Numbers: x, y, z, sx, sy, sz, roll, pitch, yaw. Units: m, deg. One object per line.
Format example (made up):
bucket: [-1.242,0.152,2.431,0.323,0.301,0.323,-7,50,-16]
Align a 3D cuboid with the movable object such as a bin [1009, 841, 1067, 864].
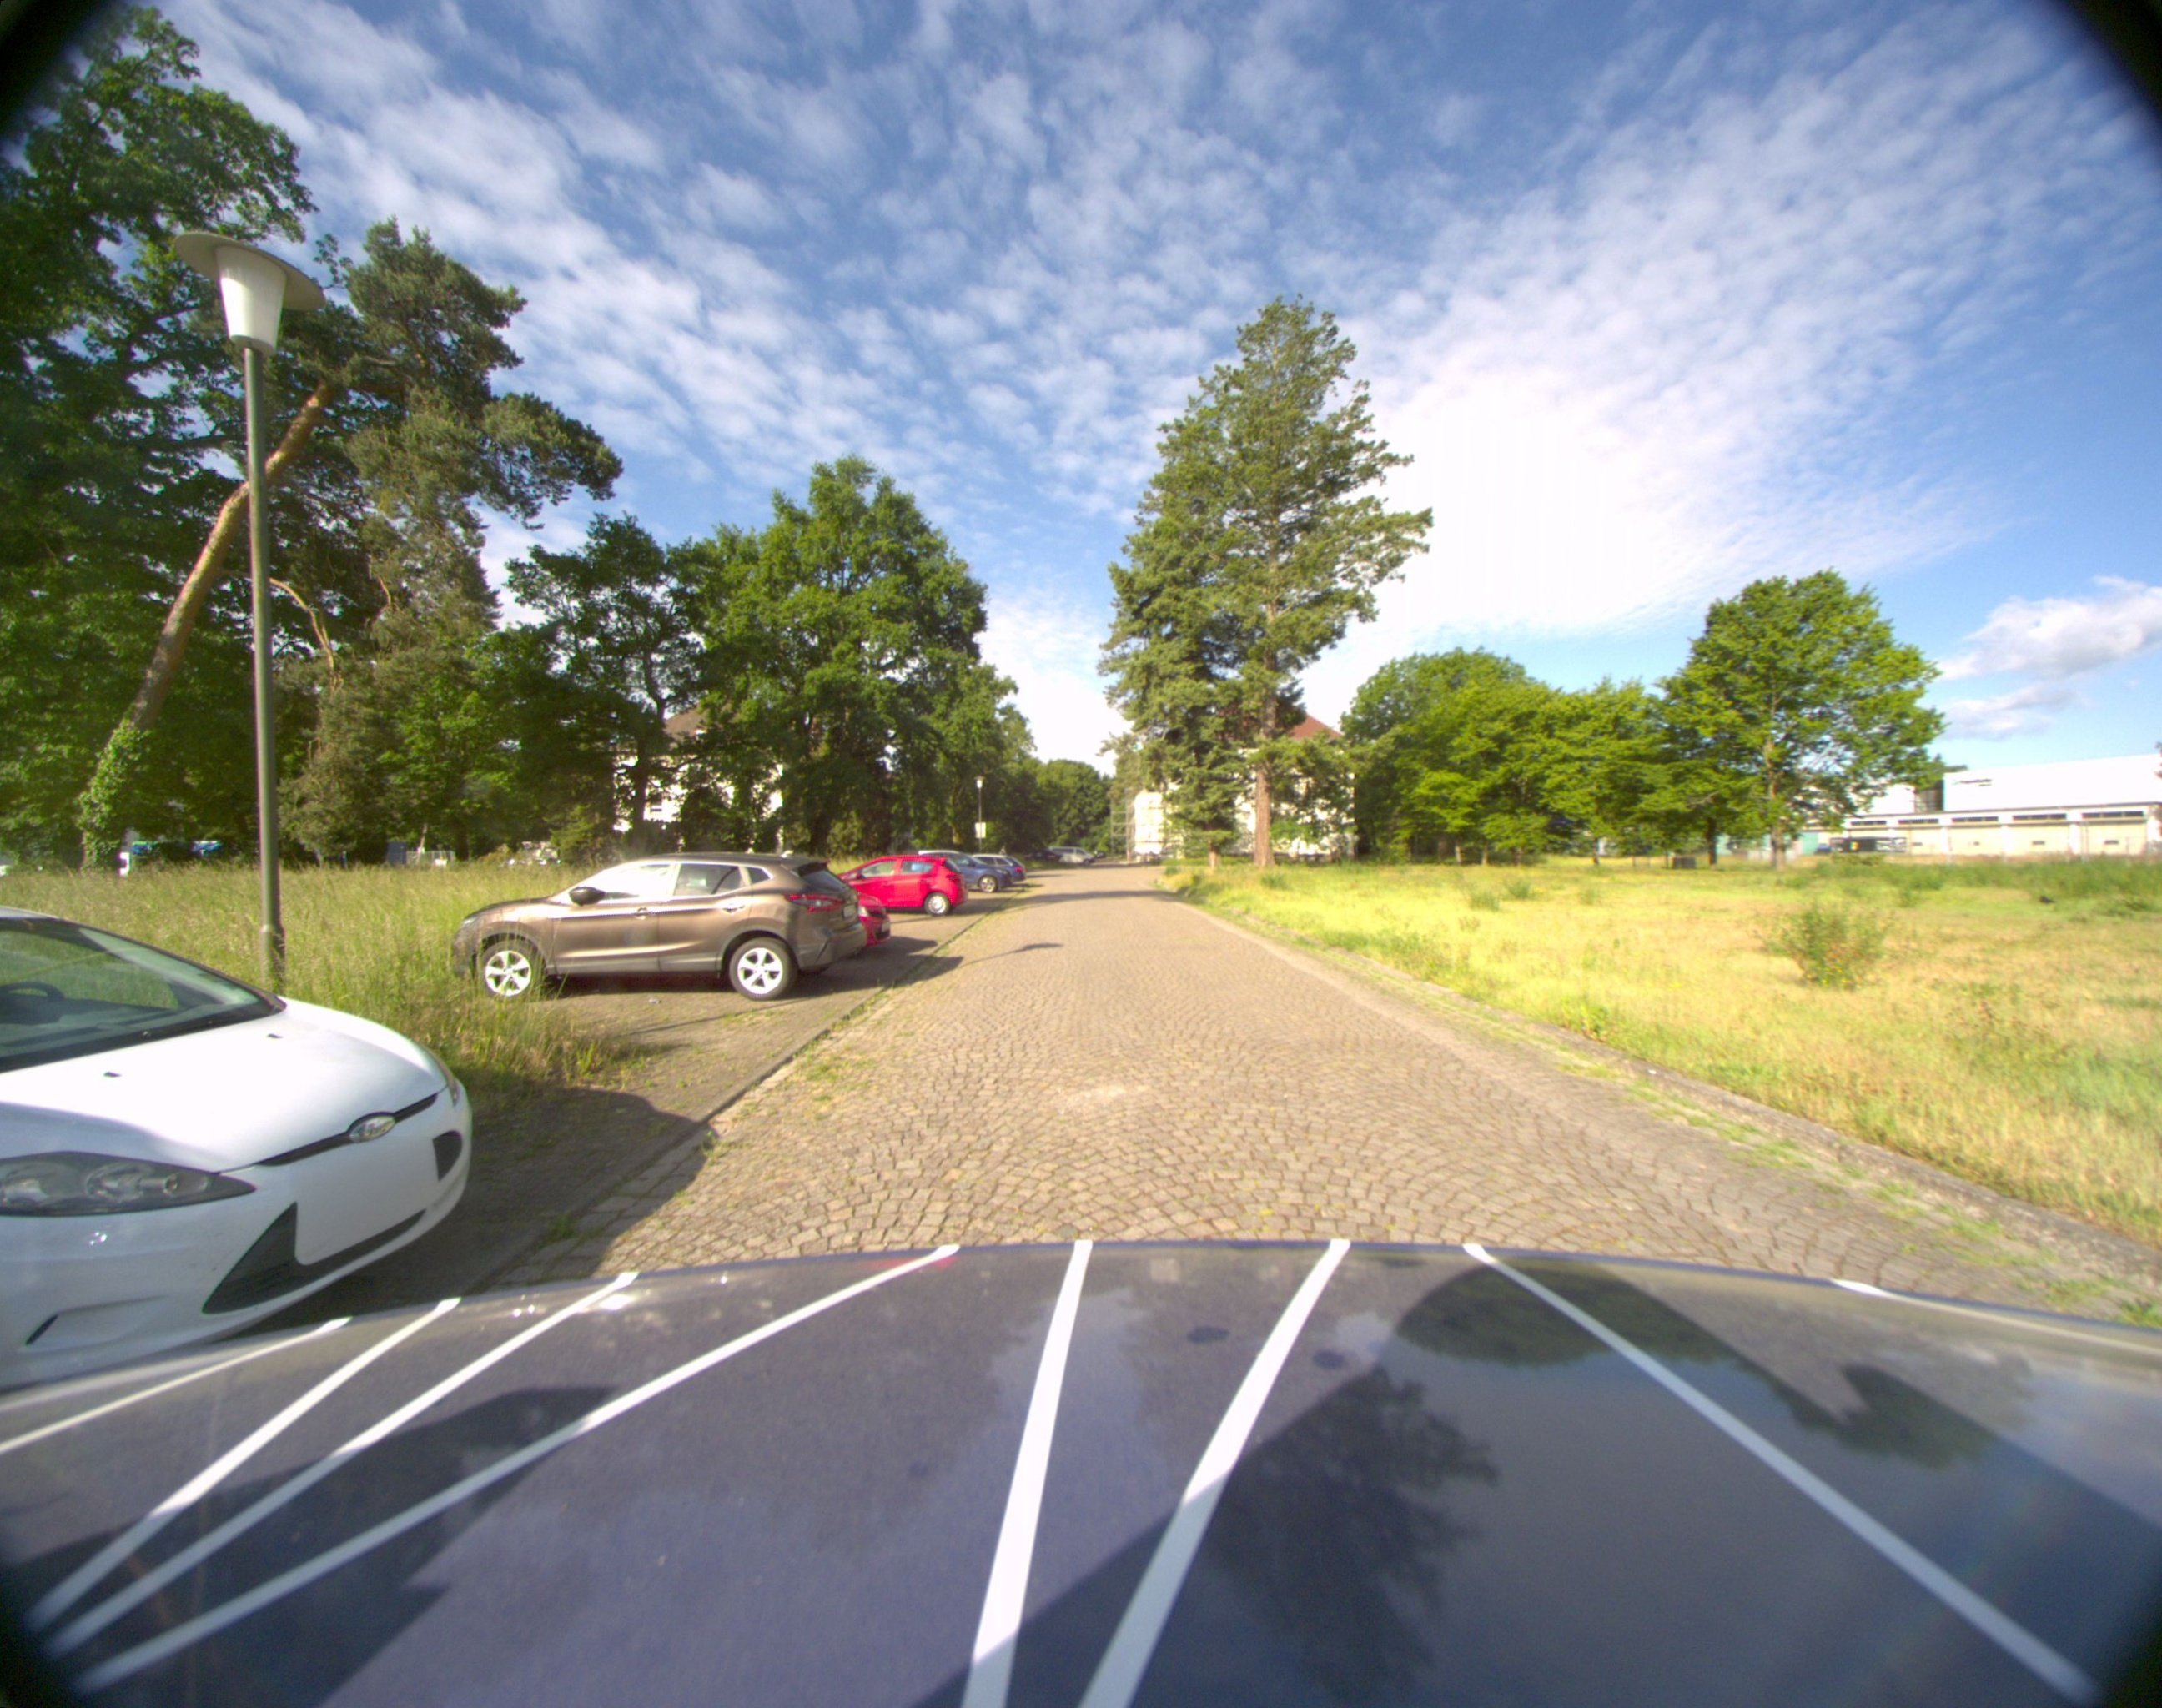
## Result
movable object such as a bin: [-3.930,-0.131,70.011,4.865,2.002,2.002,-1,1,13]

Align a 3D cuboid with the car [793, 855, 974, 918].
car: [-4.888,0.796,19.233,4.098,1.451,1.852,1,0,-2]

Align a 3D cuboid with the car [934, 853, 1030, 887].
car: [-4.403,0.686,34.167,4.098,1.415,1.784,1,0,-2]

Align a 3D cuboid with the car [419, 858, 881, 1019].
car: [-4.692,0.878,8.858,4.237,1.589,1.934,0,1,-3]

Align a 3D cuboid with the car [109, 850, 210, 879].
car: [-68.208,0.734,56.346,1.906,1.928,4.394,-3,1,1]

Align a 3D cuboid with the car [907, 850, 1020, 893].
car: [-4.502,0.651,29.461,4.098,1.548,1.852,1,0,-2]

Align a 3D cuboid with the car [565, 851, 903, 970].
car: [-5.046,0.793,11.561,4.237,1.589,1.934,1,1,-3]

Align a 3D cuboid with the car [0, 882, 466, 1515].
car: [-5.036,0.921,2.506,4.409,1.568,1.939,1,1,0]

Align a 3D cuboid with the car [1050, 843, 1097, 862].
car: [-0.860,-0.214,82.938,4.933,2.002,1.998,1,1,-6]
